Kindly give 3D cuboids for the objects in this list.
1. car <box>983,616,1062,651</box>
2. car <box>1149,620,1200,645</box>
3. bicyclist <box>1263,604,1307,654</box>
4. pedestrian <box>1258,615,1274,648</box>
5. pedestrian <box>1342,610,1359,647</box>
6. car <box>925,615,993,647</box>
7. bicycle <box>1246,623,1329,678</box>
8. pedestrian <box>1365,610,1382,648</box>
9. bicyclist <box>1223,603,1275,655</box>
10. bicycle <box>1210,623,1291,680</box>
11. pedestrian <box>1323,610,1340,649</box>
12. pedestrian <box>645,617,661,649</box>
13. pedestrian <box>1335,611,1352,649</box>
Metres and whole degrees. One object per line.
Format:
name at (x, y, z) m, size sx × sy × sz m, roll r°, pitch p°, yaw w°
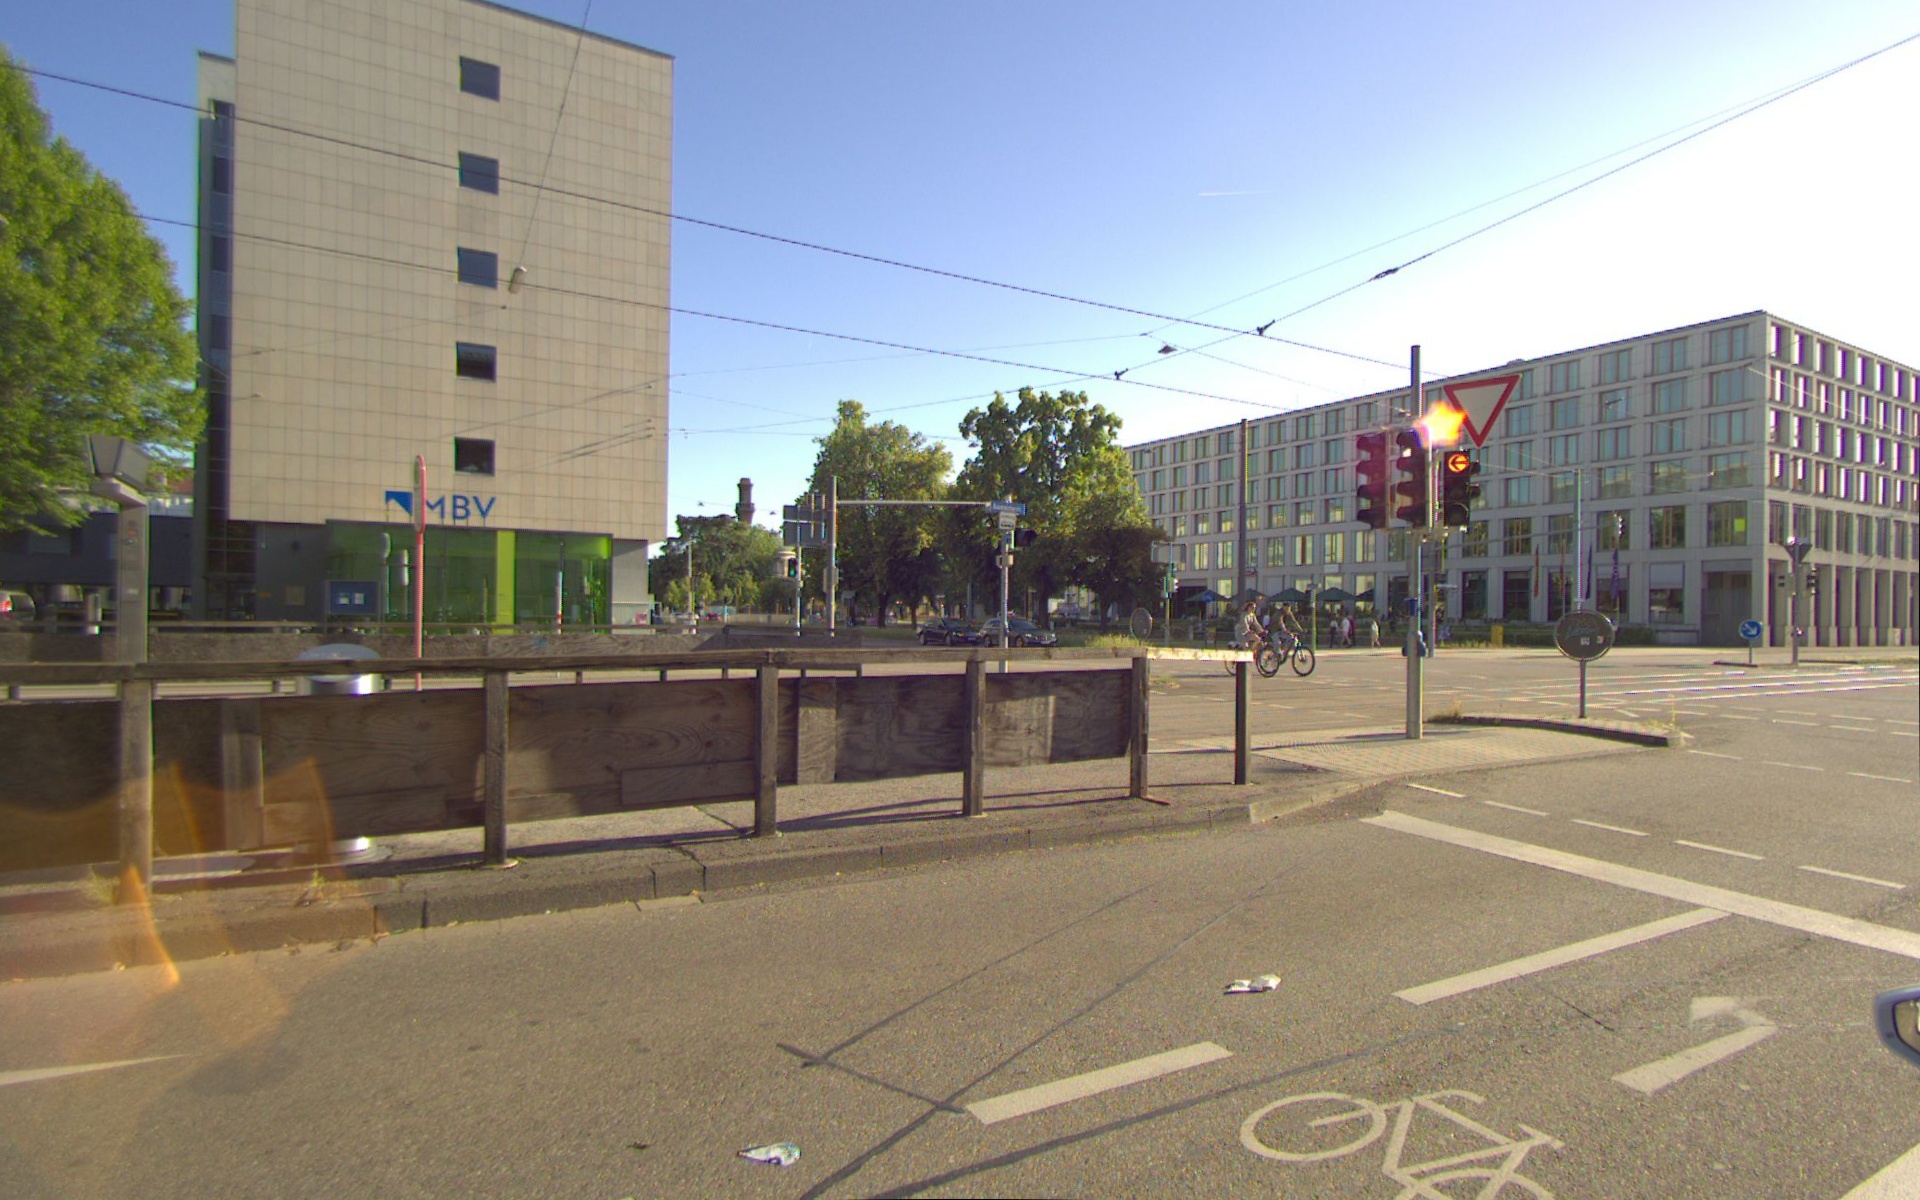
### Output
car at (2.899, 1.564, 47.639) m, size 1.708 × 1.595 × 4.140 m, roll 1°, pitch -1°, yaw -31°
car at (13.537, 2.038, 63.478) m, size 1.454 × 1.457 × 3.169 m, roll 1°, pitch -1°, yaw -30°
bicyclist at (8.229, 0.735, 25.407) m, size 0.788 × 1.235 × 0.717 m, roll 1°, pitch -1°, yaw -31°
pedestrian at (17.821, 1.819, 58.568) m, size 0.672 × 1.928 × 0.560 m, roll 1°, pitch -1°, yaw -21°
pedestrian at (21.598, 1.562, 55.528) m, size 0.793 × 2.040 × 0.526 m, roll 1°, pitch -1°, yaw -36°
car at (-0.098, 1.593, 52.417) m, size 1.801 × 1.595 × 3.967 m, roll 0°, pitch 0°, yaw -31°
bicycle at (8.232, 1.259, 25.361) m, size 0.783 × 1.308 × 1.975 m, roll 1°, pitch -1°, yaw -31°
pedestrian at (22.312, 1.557, 54.157) m, size 0.793 × 2.040 × 0.526 m, roll 1°, pitch -1°, yaw -36°
bicyclist at (7.037, 0.694, 24.459) m, size 0.788 × 1.235 × 0.920 m, roll 1°, pitch -1°, yaw -33°
bicycle at (7.041, 1.220, 24.457) m, size 0.783 × 1.308 × 1.840 m, roll 1°, pitch -1°, yaw -33°
pedestrian at (20.072, 1.591, 54.275) m, size 0.793 × 2.040 × 0.526 m, roll 1°, pitch -1°, yaw -36°
pedestrian at (-14.865, 1.591, 48.578) m, size 0.593 × 1.561 × 0.620 m, roll 1°, pitch -1°, yaw -32°
pedestrian at (20.977, 1.635, 54.946) m, size 0.793 × 2.040 × 0.526 m, roll 1°, pitch -1°, yaw -36°
